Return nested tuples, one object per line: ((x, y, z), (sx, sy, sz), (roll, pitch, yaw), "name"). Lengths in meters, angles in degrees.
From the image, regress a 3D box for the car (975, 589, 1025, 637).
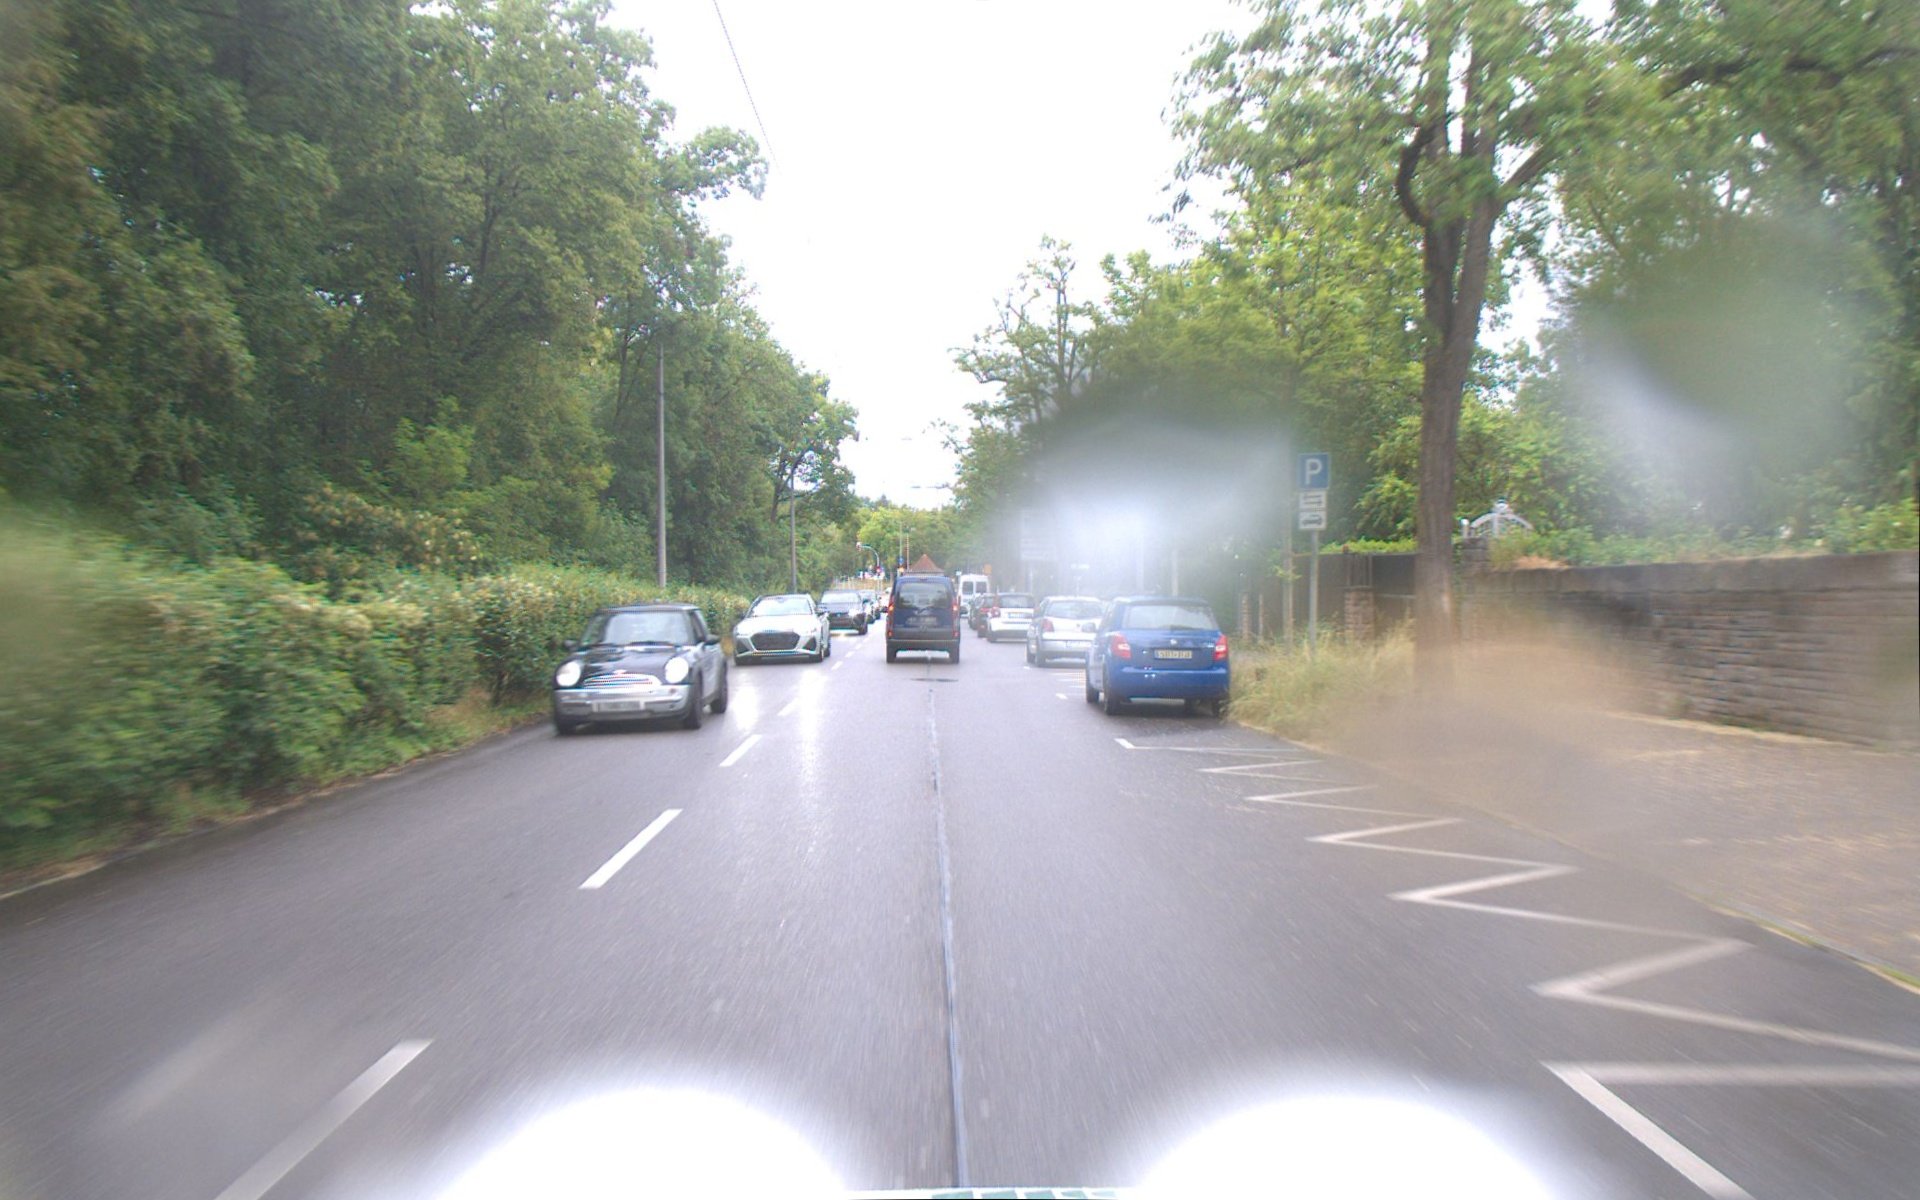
((1.390, 0.431, 57.796), (1.663, 1.551, 3.868), (1, 1, 1), "car")

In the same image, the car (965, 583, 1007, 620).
((1.161, 0.039, 74.271), (1.664, 1.551, 3.866), (1, 1, -2), "car")

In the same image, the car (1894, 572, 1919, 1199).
((3.141, 0.748, 1.896), (1.706, 1.505, 3.961), (1, 1, -4), "car")

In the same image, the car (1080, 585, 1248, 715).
((2.655, 0.598, 22.370), (1.686, 1.532, 4.050), (1, 1, -1), "car")

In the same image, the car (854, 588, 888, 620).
((-4.938, 0.198, 91.995), (1.688, 1.644, 4.154), (-1, 1, -1), "car")

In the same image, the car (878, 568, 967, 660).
((-0.870, 0.261, 36.246), (1.732, 1.862, 3.539), (1, 1, -4), "car")

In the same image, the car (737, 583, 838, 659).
((-3.852, 0.430, 37.557), (1.818, 1.493, 4.446), (-3, 1, -1), "car")

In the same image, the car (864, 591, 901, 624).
((-3.883, 0.337, 83.140), (1.694, 1.468, 5.111), (-2, 1, -1), "car")

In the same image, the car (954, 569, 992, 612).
((0.757, -0.556, 99.293), (2.160, 2.492, 4.728), (0, 0, -1), "car")

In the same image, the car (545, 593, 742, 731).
((-3.674, 0.668, 19.795), (1.652, 1.379, 3.723), (-2, 1, -1), "car")

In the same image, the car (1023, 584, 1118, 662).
((2.331, 0.452, 35.611), (1.586, 1.534, 3.833), (1, 1, -3), "car")

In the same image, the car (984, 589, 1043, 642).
((1.635, 0.455, 51.773), (1.600, 1.536, 2.956), (1, 1, -3), "car")

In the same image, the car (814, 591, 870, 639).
((-4.292, 0.530, 60.794), (1.767, 1.574, 4.431), (-2, 1, -1), "car")
